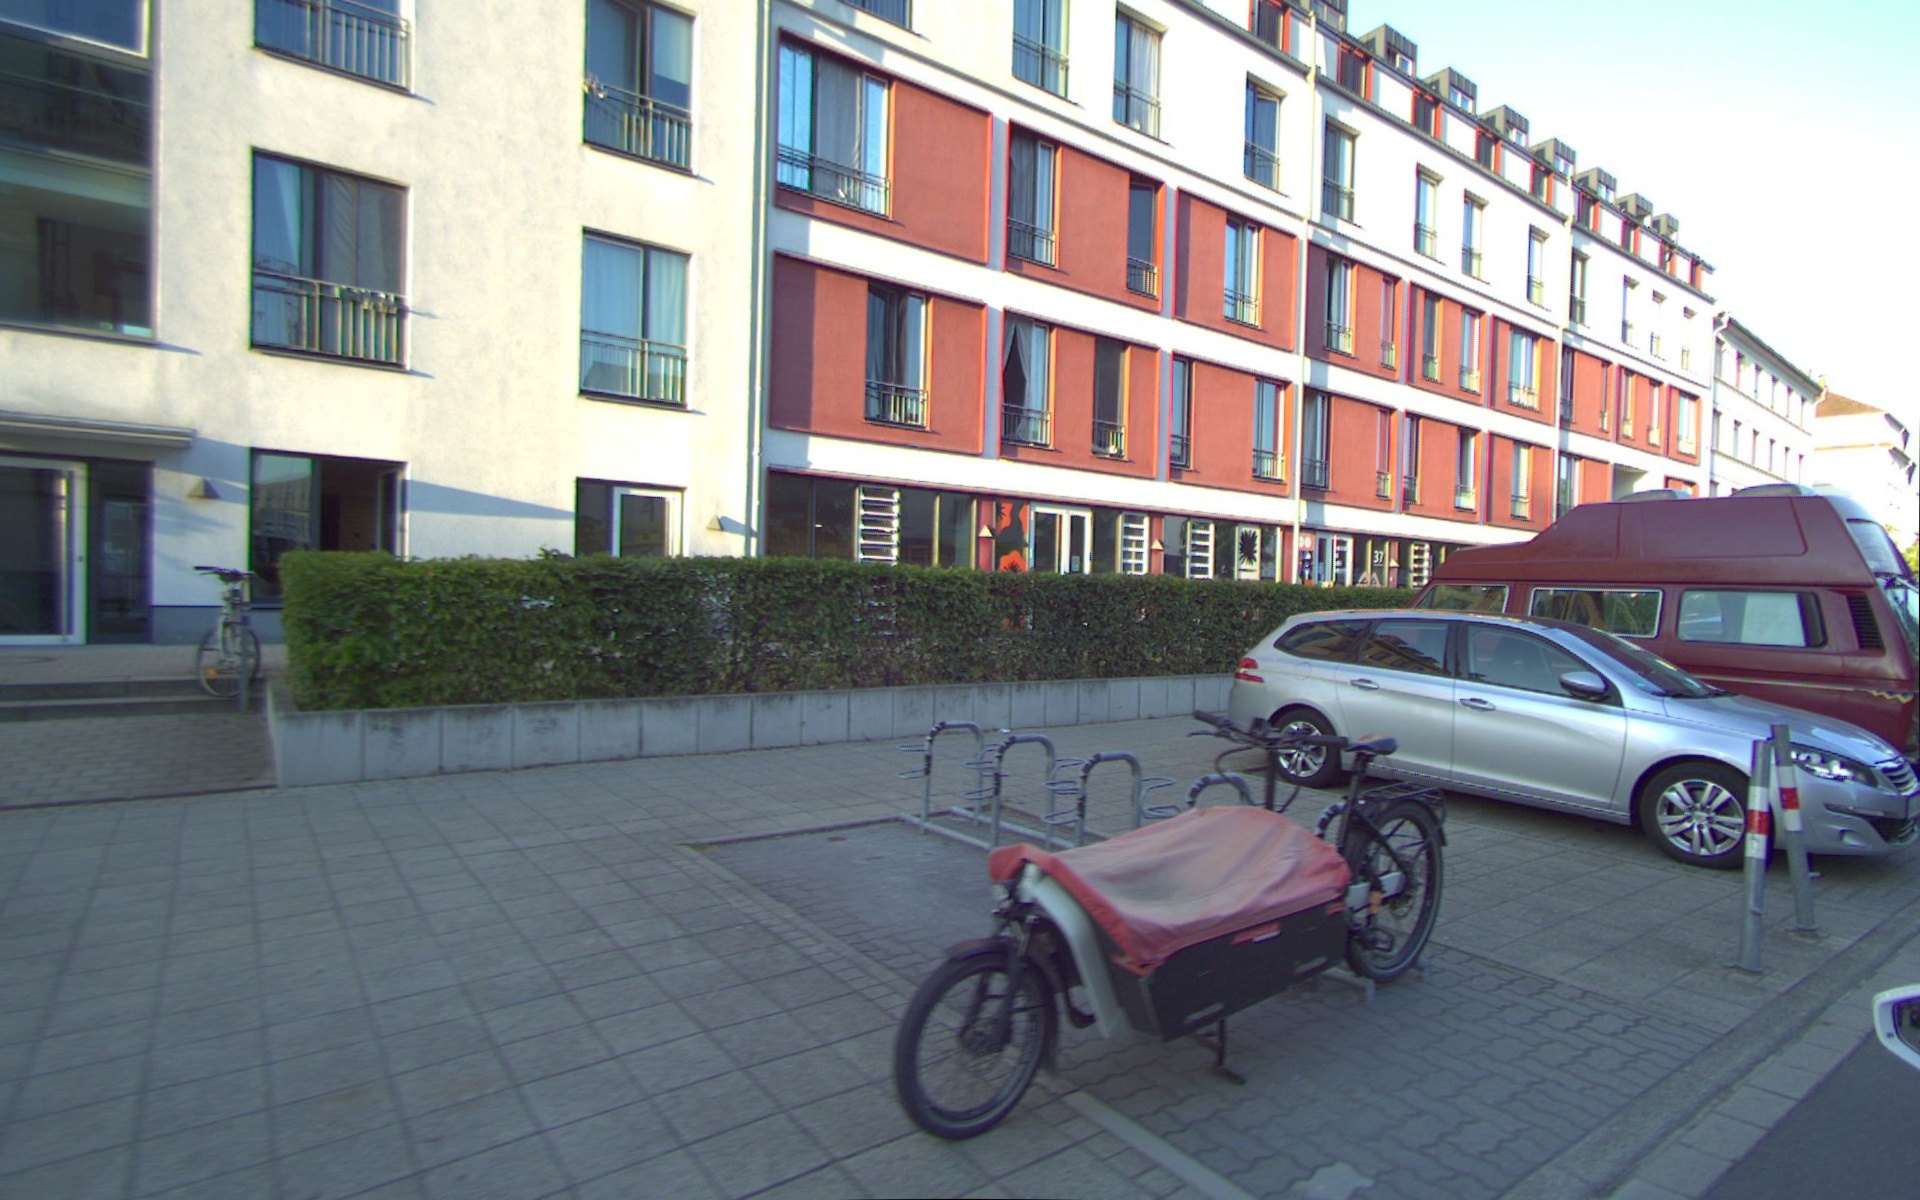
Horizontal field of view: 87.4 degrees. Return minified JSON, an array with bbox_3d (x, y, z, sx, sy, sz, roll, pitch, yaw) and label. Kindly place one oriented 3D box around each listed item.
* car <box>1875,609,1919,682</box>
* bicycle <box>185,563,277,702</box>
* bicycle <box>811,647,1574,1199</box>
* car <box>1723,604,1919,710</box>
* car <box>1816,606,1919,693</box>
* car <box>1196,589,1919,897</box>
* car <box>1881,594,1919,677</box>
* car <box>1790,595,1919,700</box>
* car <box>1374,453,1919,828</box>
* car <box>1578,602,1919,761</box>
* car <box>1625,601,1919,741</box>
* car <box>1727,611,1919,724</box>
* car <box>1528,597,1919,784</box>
[{"bbox_3d":[23.931,1.147,22.878,1.870,1.674,4.227,1,2,-36],"label":"car"},{"bbox_3d":[-6.761,0.253,9.373,0.604,1.163,1.765,1,2,-33],"label":"bicycle"},{"bbox_3d":[0.967,0.824,3.394,2.837,1.238,0.802,1,2,-35],"label":"bicycle"},{"bbox_3d":[16.335,0.989,17.729,1.982,1.637,4.177,1,2,-38],"label":"car"},{"bbox_3d":[20.405,1.068,20.395,1.981,1.683,4.227,1,2,-36],"label":"car"},{"bbox_3d":[4.259,0.750,7.674,1.865,1.480,4.577,1,2,-39],"label":"car"},{"bbox_3d":[25.912,0.983,24.461,1.888,2.048,4.816,1,2,-36],"label":"car"},{"bbox_3d":[18.541,0.932,18.793,1.981,1.861,4.227,1,2,-36],"label":"car"},{"bbox_3d":[6.433,0.222,9.176,1.980,2.619,4.482,1,2,-34],"label":"car"},{"bbox_3d":[10.344,0.909,12.442,1.820,1.559,4.188,1,2,-30],"label":"car"},{"bbox_3d":[12.016,0.915,13.953,1.982,1.597,4.177,1,2,-38],"label":"car"},{"bbox_3d":[14.491,1.037,15.223,1.831,1.510,4.180,1,2,-35],"label":"car"},{"bbox_3d":[8.584,0.835,10.532,1.775,1.559,4.177,1,2,-38],"label":"car"}]
